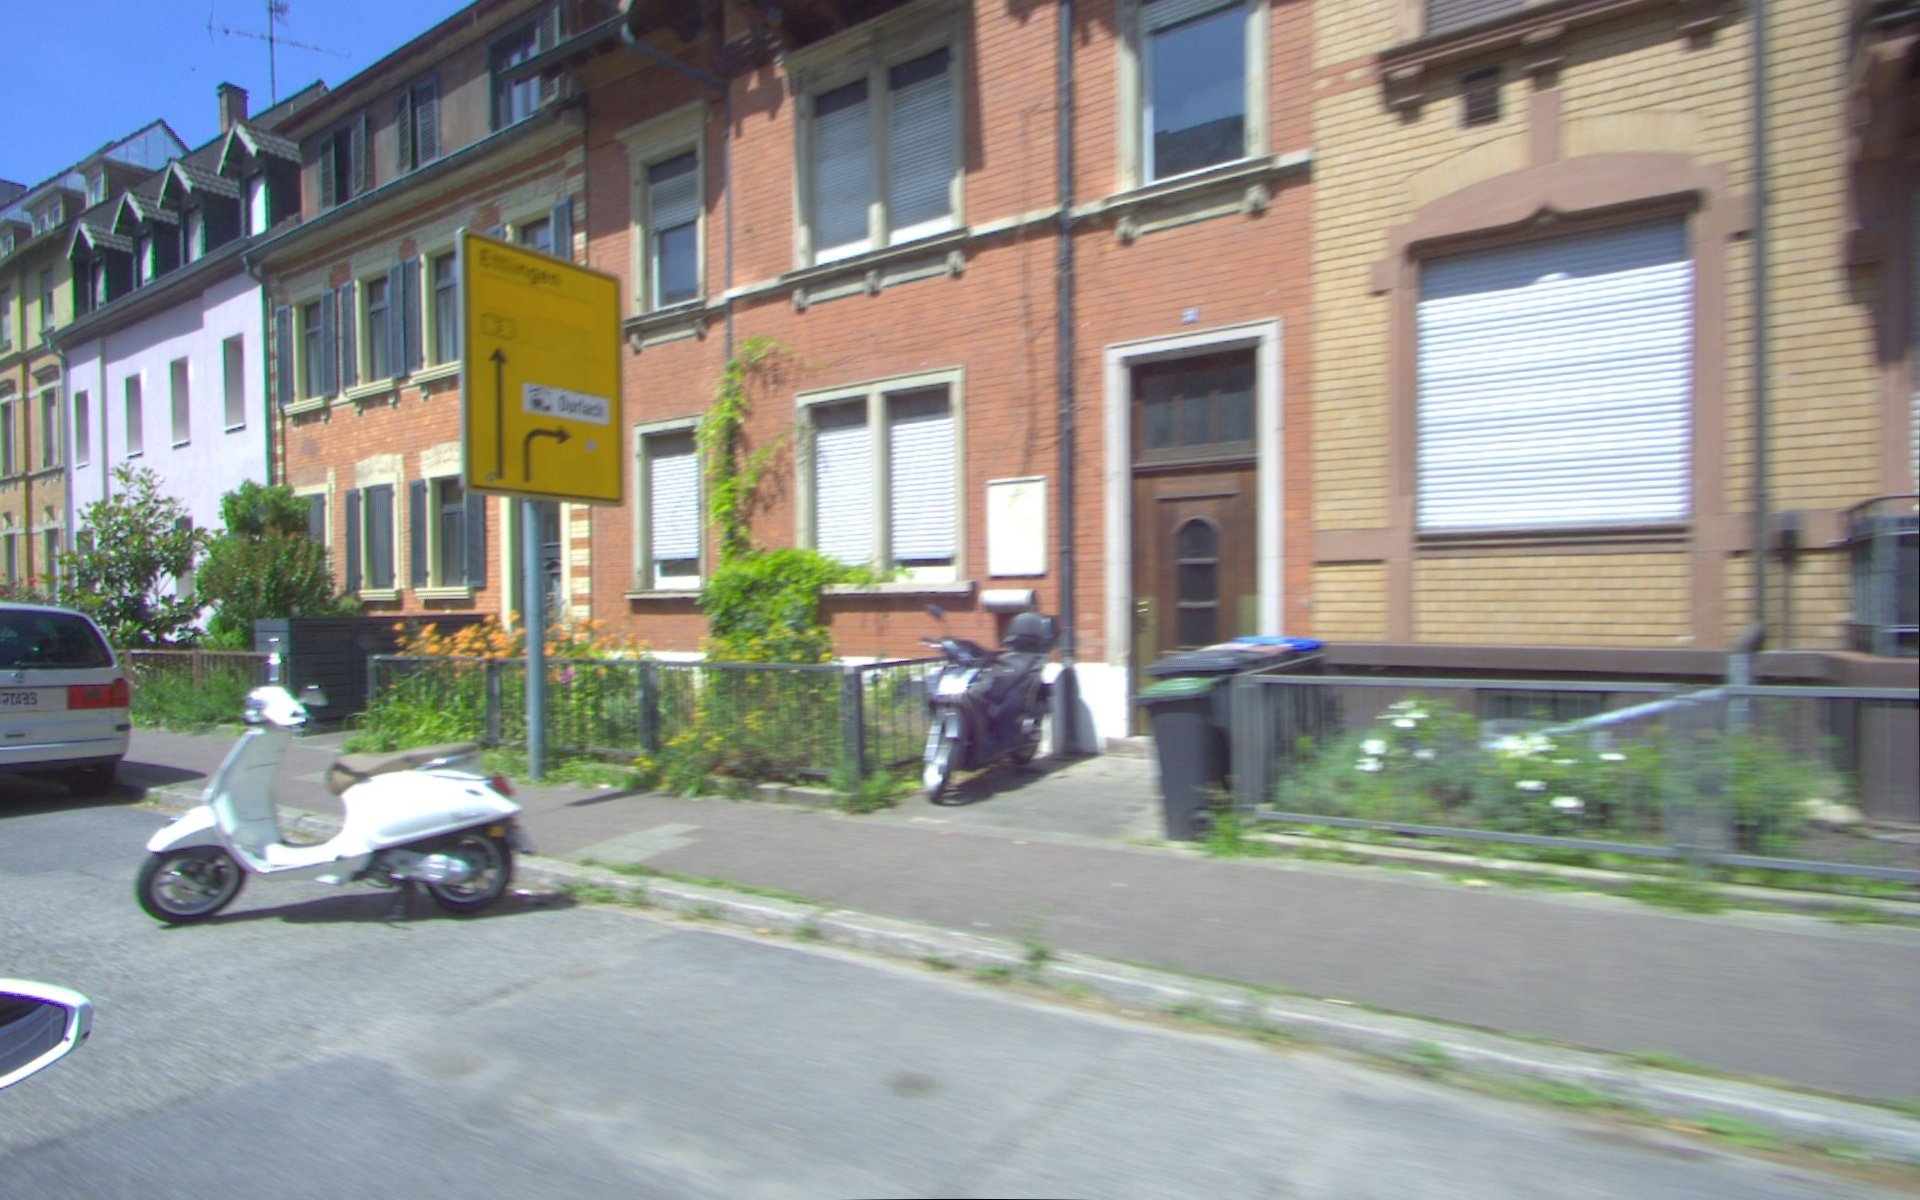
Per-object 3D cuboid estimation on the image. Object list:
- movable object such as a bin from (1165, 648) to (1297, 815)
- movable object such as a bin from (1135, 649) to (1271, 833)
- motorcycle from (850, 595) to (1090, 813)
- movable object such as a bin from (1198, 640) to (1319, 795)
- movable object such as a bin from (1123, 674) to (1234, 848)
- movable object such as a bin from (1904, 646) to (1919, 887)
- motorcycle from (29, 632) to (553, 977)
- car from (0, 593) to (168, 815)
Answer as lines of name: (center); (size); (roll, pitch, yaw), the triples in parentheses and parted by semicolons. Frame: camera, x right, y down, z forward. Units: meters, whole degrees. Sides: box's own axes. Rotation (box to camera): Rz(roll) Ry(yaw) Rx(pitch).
movable object such as a bin: (1.921, 0.890, 7.075); (0.738, 1.069, 0.657); (0, 0, 33)
movable object such as a bin: (1.587, 0.879, 6.527); (0.717, 1.090, 0.556); (0, 0, 33)
motorcycle: (0.161, 0.707, 7.920); (0.924, 1.427, 2.124); (-1, 2, 31)
movable object such as a bin: (2.280, 0.864, 7.644); (0.750, 1.091, 0.607); (0, 0, 33)
movable object such as a bin: (1.326, 0.942, 6.046); (0.519, 0.953, 0.480); (0, 0, 33)
movable object such as a bin: (4.630, 0.769, 4.283); (0.676, 1.103, 0.787); (0, 1, 29)
motorcycle: (-3.125, 0.875, 5.019); (1.962, 1.403, 1.110); (0, -1, -20)
car: (-9.533, 0.860, 9.263); (4.547, 1.770, 1.859); (-1, -2, 29)
